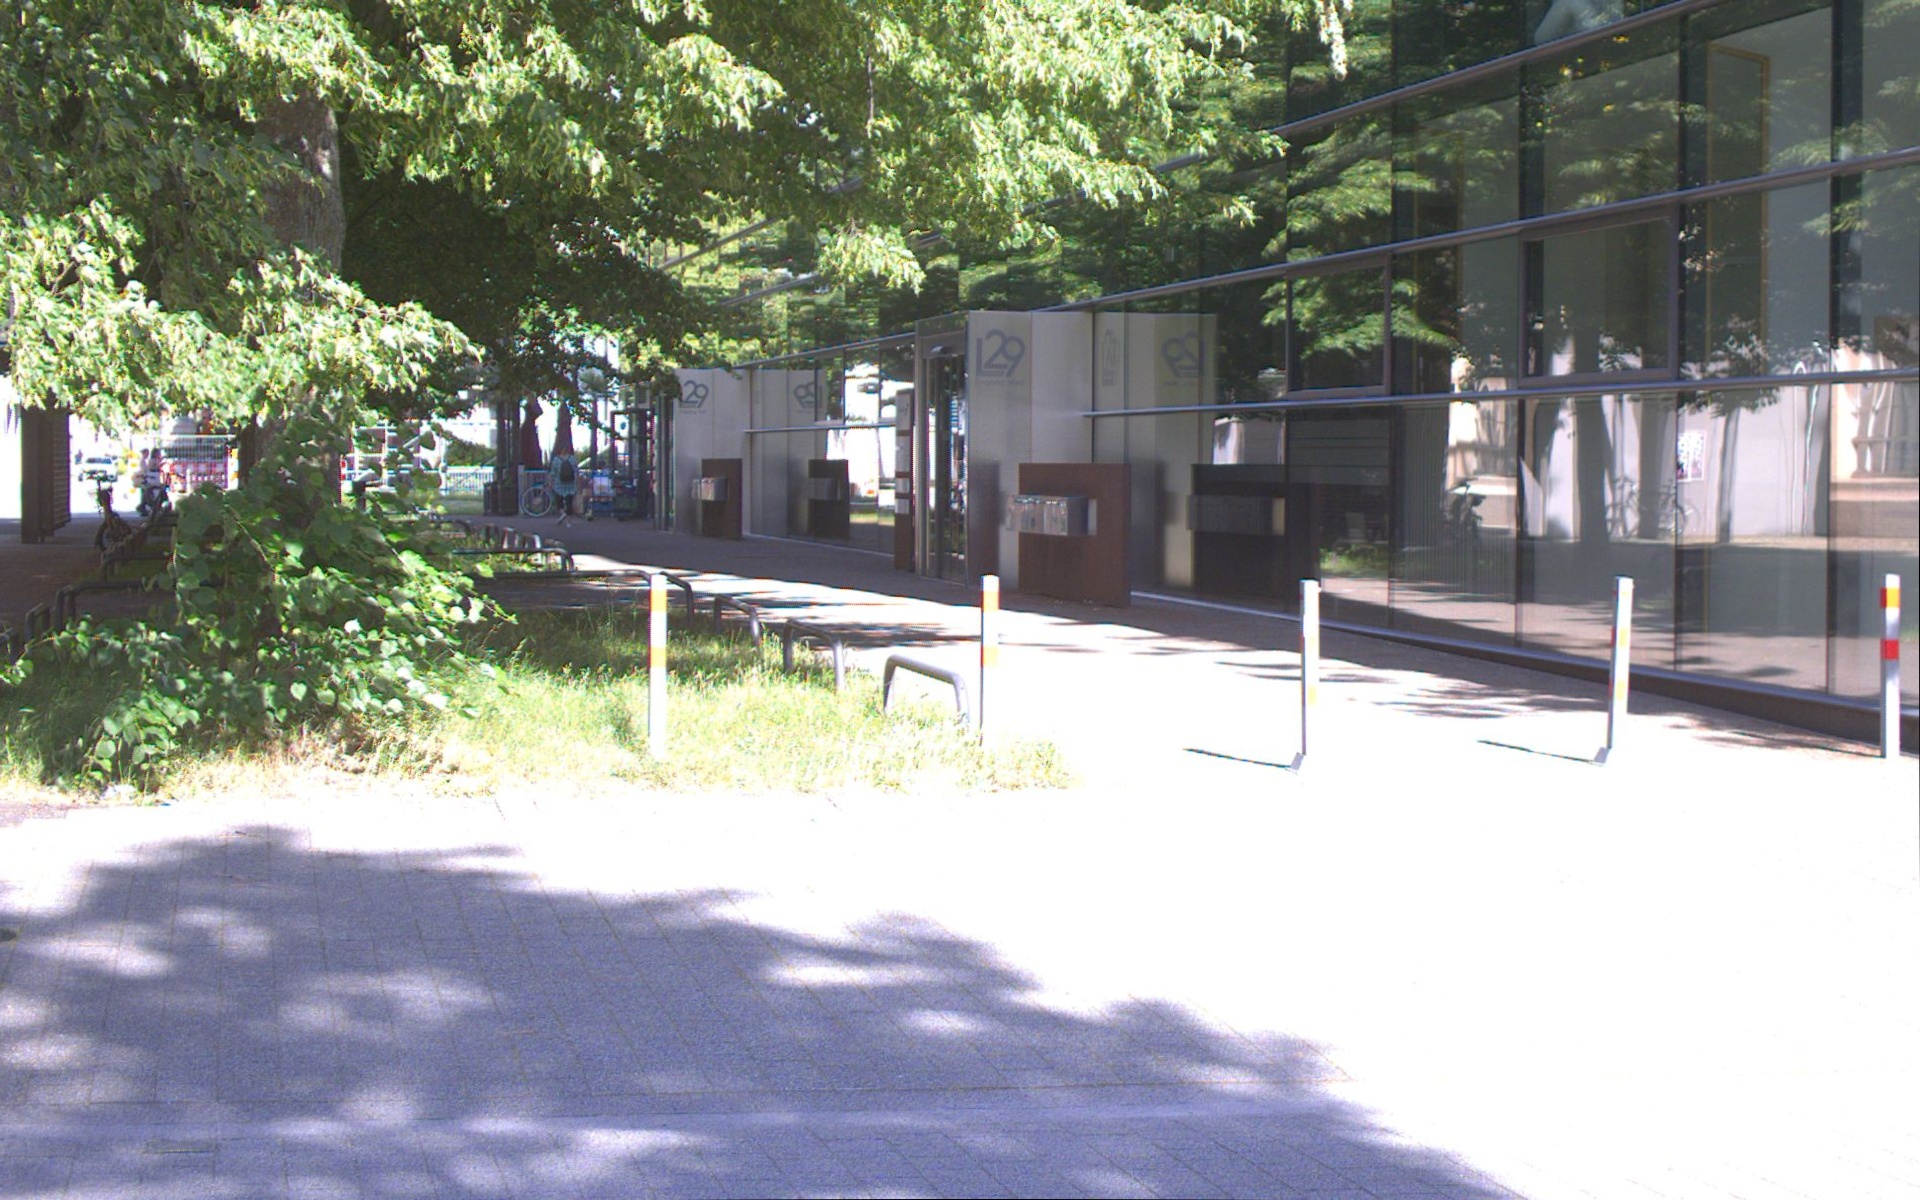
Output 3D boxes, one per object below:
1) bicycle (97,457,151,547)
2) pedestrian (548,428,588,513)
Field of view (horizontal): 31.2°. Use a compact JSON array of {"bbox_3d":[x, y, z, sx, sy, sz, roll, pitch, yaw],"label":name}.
[{"bbox_3d":[-11.582,-1.370,47.597,0.619,1.193,2.132,0,3,-17],"label":"bicycle"},{"bbox_3d":[-7.183,-2.376,63.051,0.716,1.545,0.690,0,3,-5],"label":"pedestrian"}]
